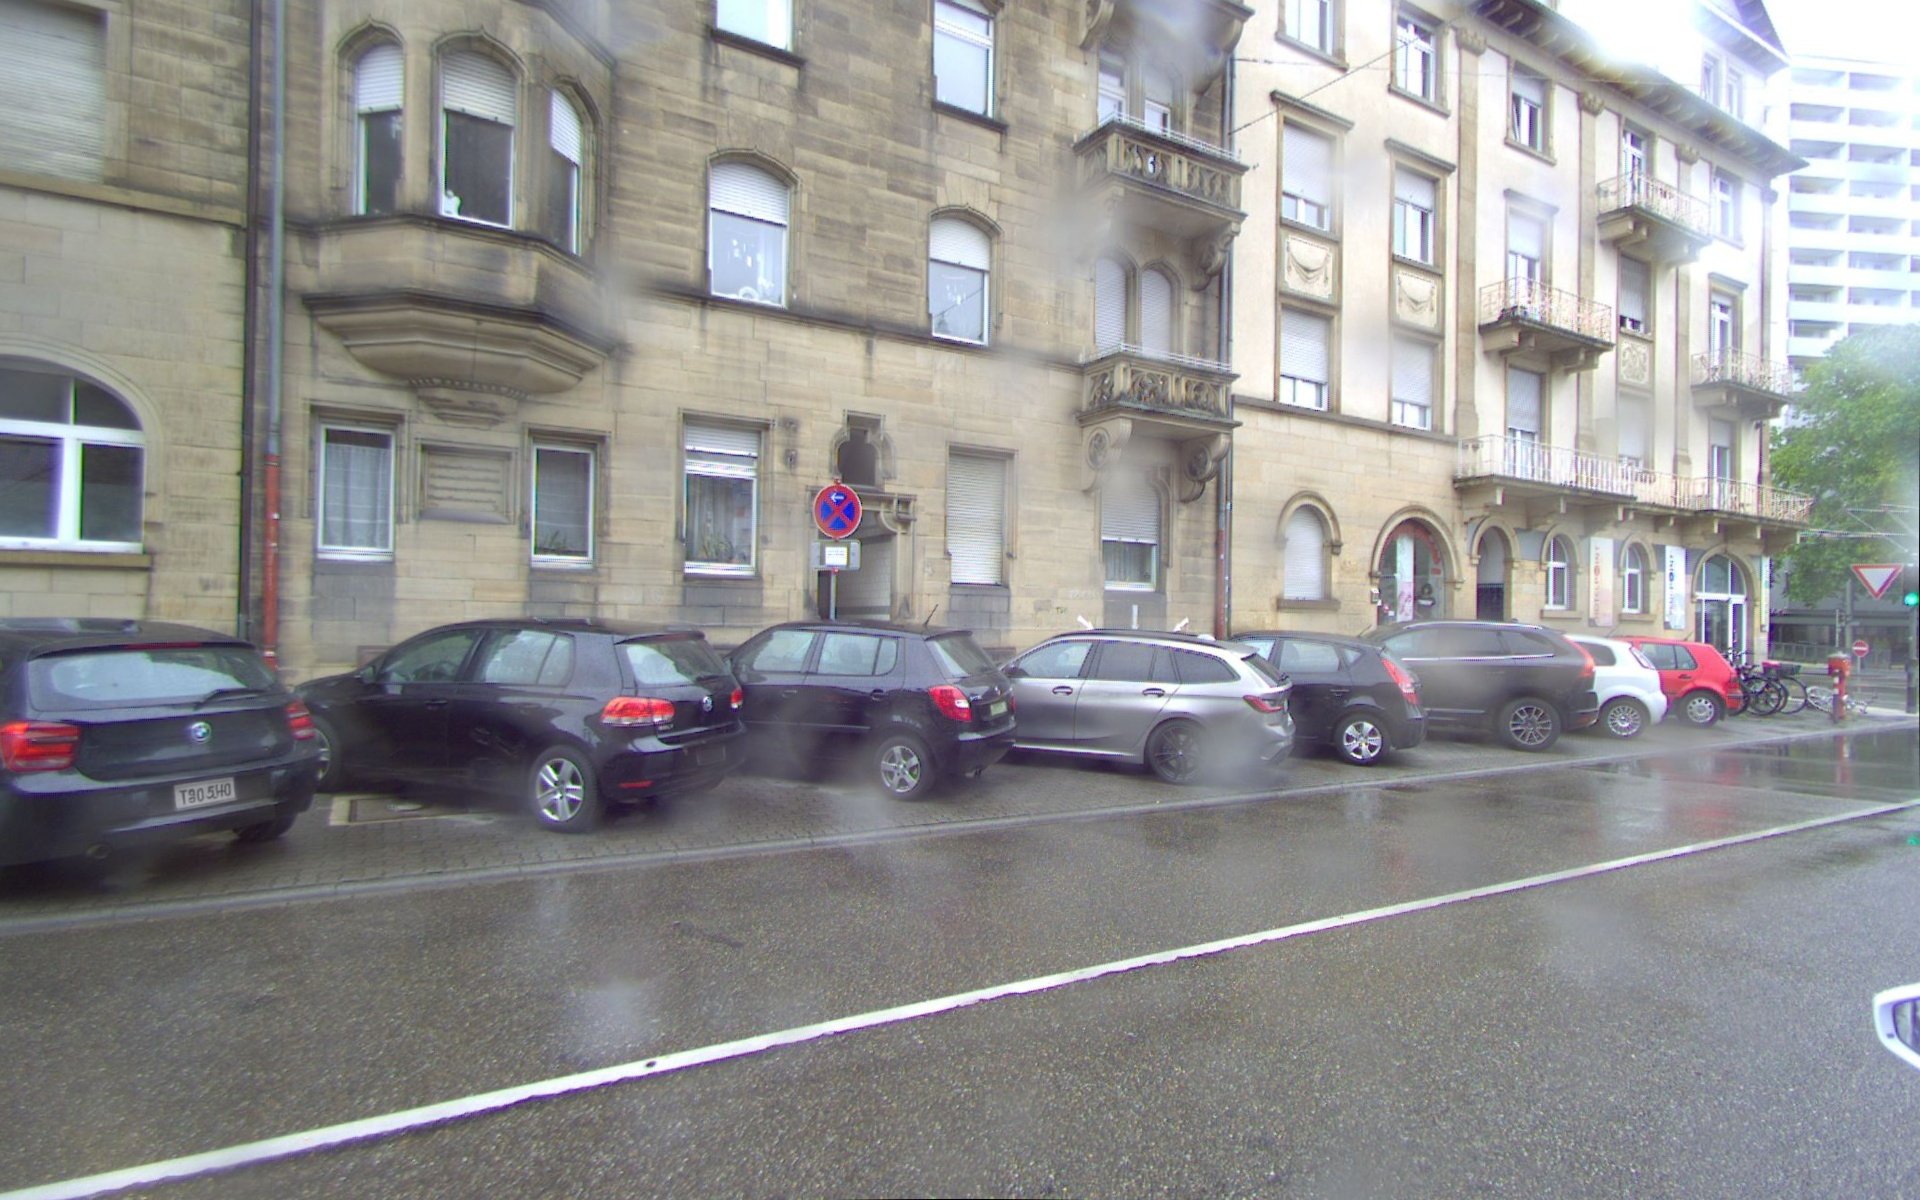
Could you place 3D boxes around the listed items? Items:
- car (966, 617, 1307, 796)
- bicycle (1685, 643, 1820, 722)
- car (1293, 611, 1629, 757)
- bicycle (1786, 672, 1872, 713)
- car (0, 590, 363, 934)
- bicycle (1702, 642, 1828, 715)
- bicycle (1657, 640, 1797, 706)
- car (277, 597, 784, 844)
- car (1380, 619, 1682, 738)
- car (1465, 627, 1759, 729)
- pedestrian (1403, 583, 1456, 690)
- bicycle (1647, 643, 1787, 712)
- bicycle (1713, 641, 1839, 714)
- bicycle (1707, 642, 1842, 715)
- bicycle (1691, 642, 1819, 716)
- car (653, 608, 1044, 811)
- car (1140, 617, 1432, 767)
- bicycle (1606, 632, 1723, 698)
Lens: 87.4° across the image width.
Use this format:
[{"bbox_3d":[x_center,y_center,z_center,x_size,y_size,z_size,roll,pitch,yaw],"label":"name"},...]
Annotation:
[{"bbox_3d":[1.950,1.032,10.942,3.362,1.564,1.701,2,1,21],"label":"car"},{"bbox_3d":[14.428,1.476,18.346,0.592,1.200,1.805,1,3,-24],"label":"bicycle"},{"bbox_3d":[6.917,1.081,14.306,4.005,1.715,1.764,2,1,21],"label":"car"},{"bbox_3d":[17.786,1.881,20.597,1.024,0.672,1.476,3,0,29],"label":"bicycle"},{"bbox_3d":[-5.815,0.756,6.331,3.657,1.564,1.777,2,1,25],"label":"car"},{"bbox_3d":[15.555,1.497,19.456,0.463,1.200,1.800,2,2,-31],"label":"bicycle"},{"bbox_3d":[16.700,1.557,21.943,0.634,1.364,2.326,1,-2,-34],"label":"bicycle"},{"bbox_3d":[-3.487,0.821,8.225,3.685,1.564,1.628,2,1,20],"label":"car"},{"bbox_3d":[8.862,1.163,15.984,3.916,1.554,1.704,2,0,21],"label":"car"},{"bbox_3d":[11.172,1.290,17.527,3.920,1.528,1.804,1,-1,16],"label":"car"},{"bbox_3d":[10.577,0.818,22.640,0.750,2.371,0.847,1,-1,-8],"label":"pedestrian"},{"bbox_3d":[16.180,1.622,21.550,0.634,1.364,2.326,1,-2,-34],"label":"bicycle"},{"bbox_3d":[16.361,1.525,20.199,0.432,1.347,1.969,1,-1,-27],"label":"bicycle"},{"bbox_3d":[15.973,1.516,19.751,0.470,1.200,1.968,2,2,-32],"label":"bicycle"},{"bbox_3d":[15.122,1.478,19.165,0.469,1.200,1.800,2,2,-31],"label":"bicycle"},{"bbox_3d":[-1.072,0.916,9.727,3.378,1.564,1.627,2,1,24],"label":"car"},{"bbox_3d":[4.078,1.060,12.659,3.246,1.545,1.700,2,1,22],"label":"car"},{"bbox_3d":[15.431,1.404,22.065,0.579,1.364,2.044,1,-2,-34],"label":"bicycle"}]
